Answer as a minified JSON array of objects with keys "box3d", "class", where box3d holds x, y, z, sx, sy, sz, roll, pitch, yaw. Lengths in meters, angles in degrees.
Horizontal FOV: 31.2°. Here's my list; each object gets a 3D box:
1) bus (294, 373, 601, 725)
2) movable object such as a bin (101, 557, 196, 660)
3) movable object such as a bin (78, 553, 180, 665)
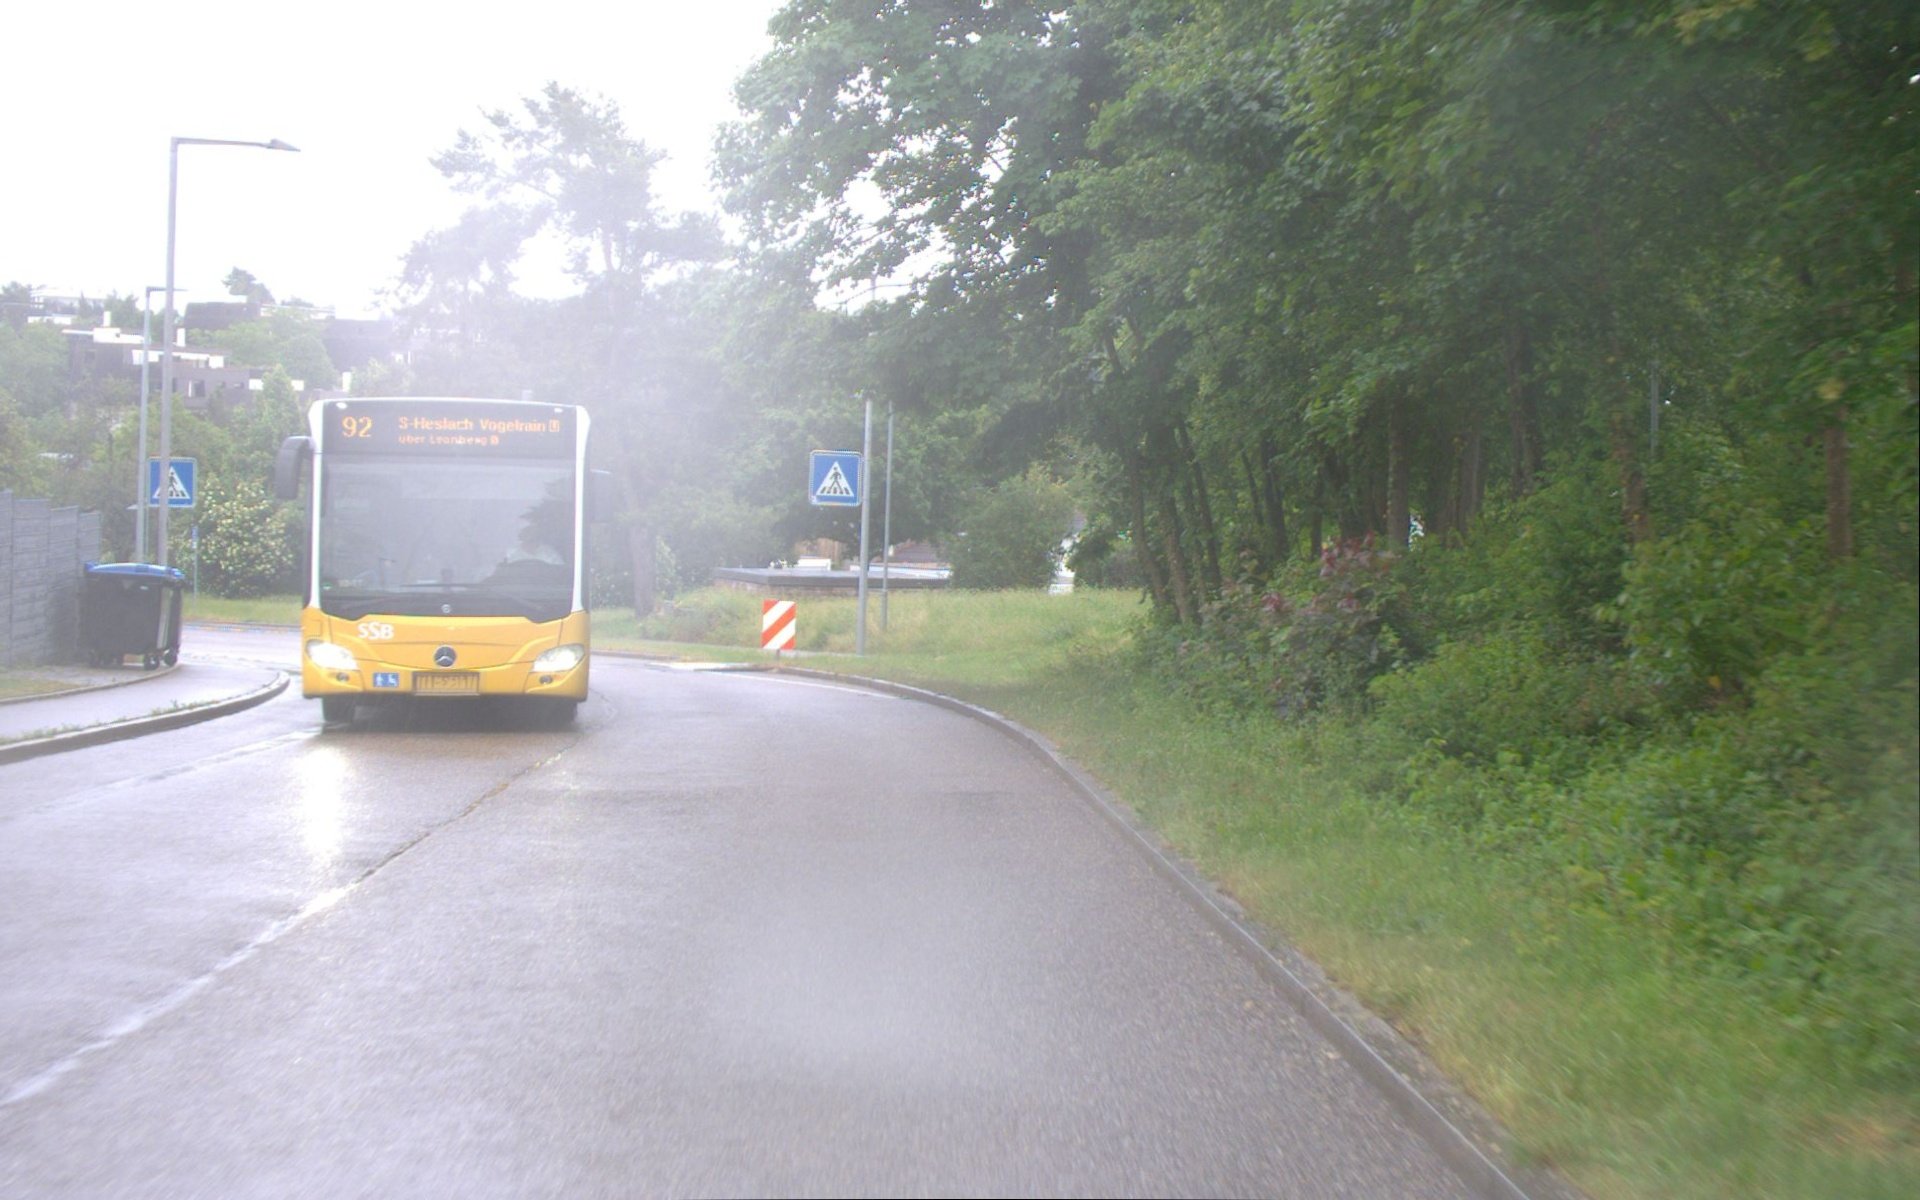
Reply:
[{"box3d":[-5.207,-0.467,35.430,2.639,3.057,10.858,0,0,-8],"class":"bus"},{"box3d":[-11.146,0.109,47.271,1.131,1.317,1.363,5,0,-11],"class":"movable object such as a bin"},{"box3d":[-10.606,0.103,43.935,1.131,1.335,1.399,4,0,-11],"class":"movable object such as a bin"}]
